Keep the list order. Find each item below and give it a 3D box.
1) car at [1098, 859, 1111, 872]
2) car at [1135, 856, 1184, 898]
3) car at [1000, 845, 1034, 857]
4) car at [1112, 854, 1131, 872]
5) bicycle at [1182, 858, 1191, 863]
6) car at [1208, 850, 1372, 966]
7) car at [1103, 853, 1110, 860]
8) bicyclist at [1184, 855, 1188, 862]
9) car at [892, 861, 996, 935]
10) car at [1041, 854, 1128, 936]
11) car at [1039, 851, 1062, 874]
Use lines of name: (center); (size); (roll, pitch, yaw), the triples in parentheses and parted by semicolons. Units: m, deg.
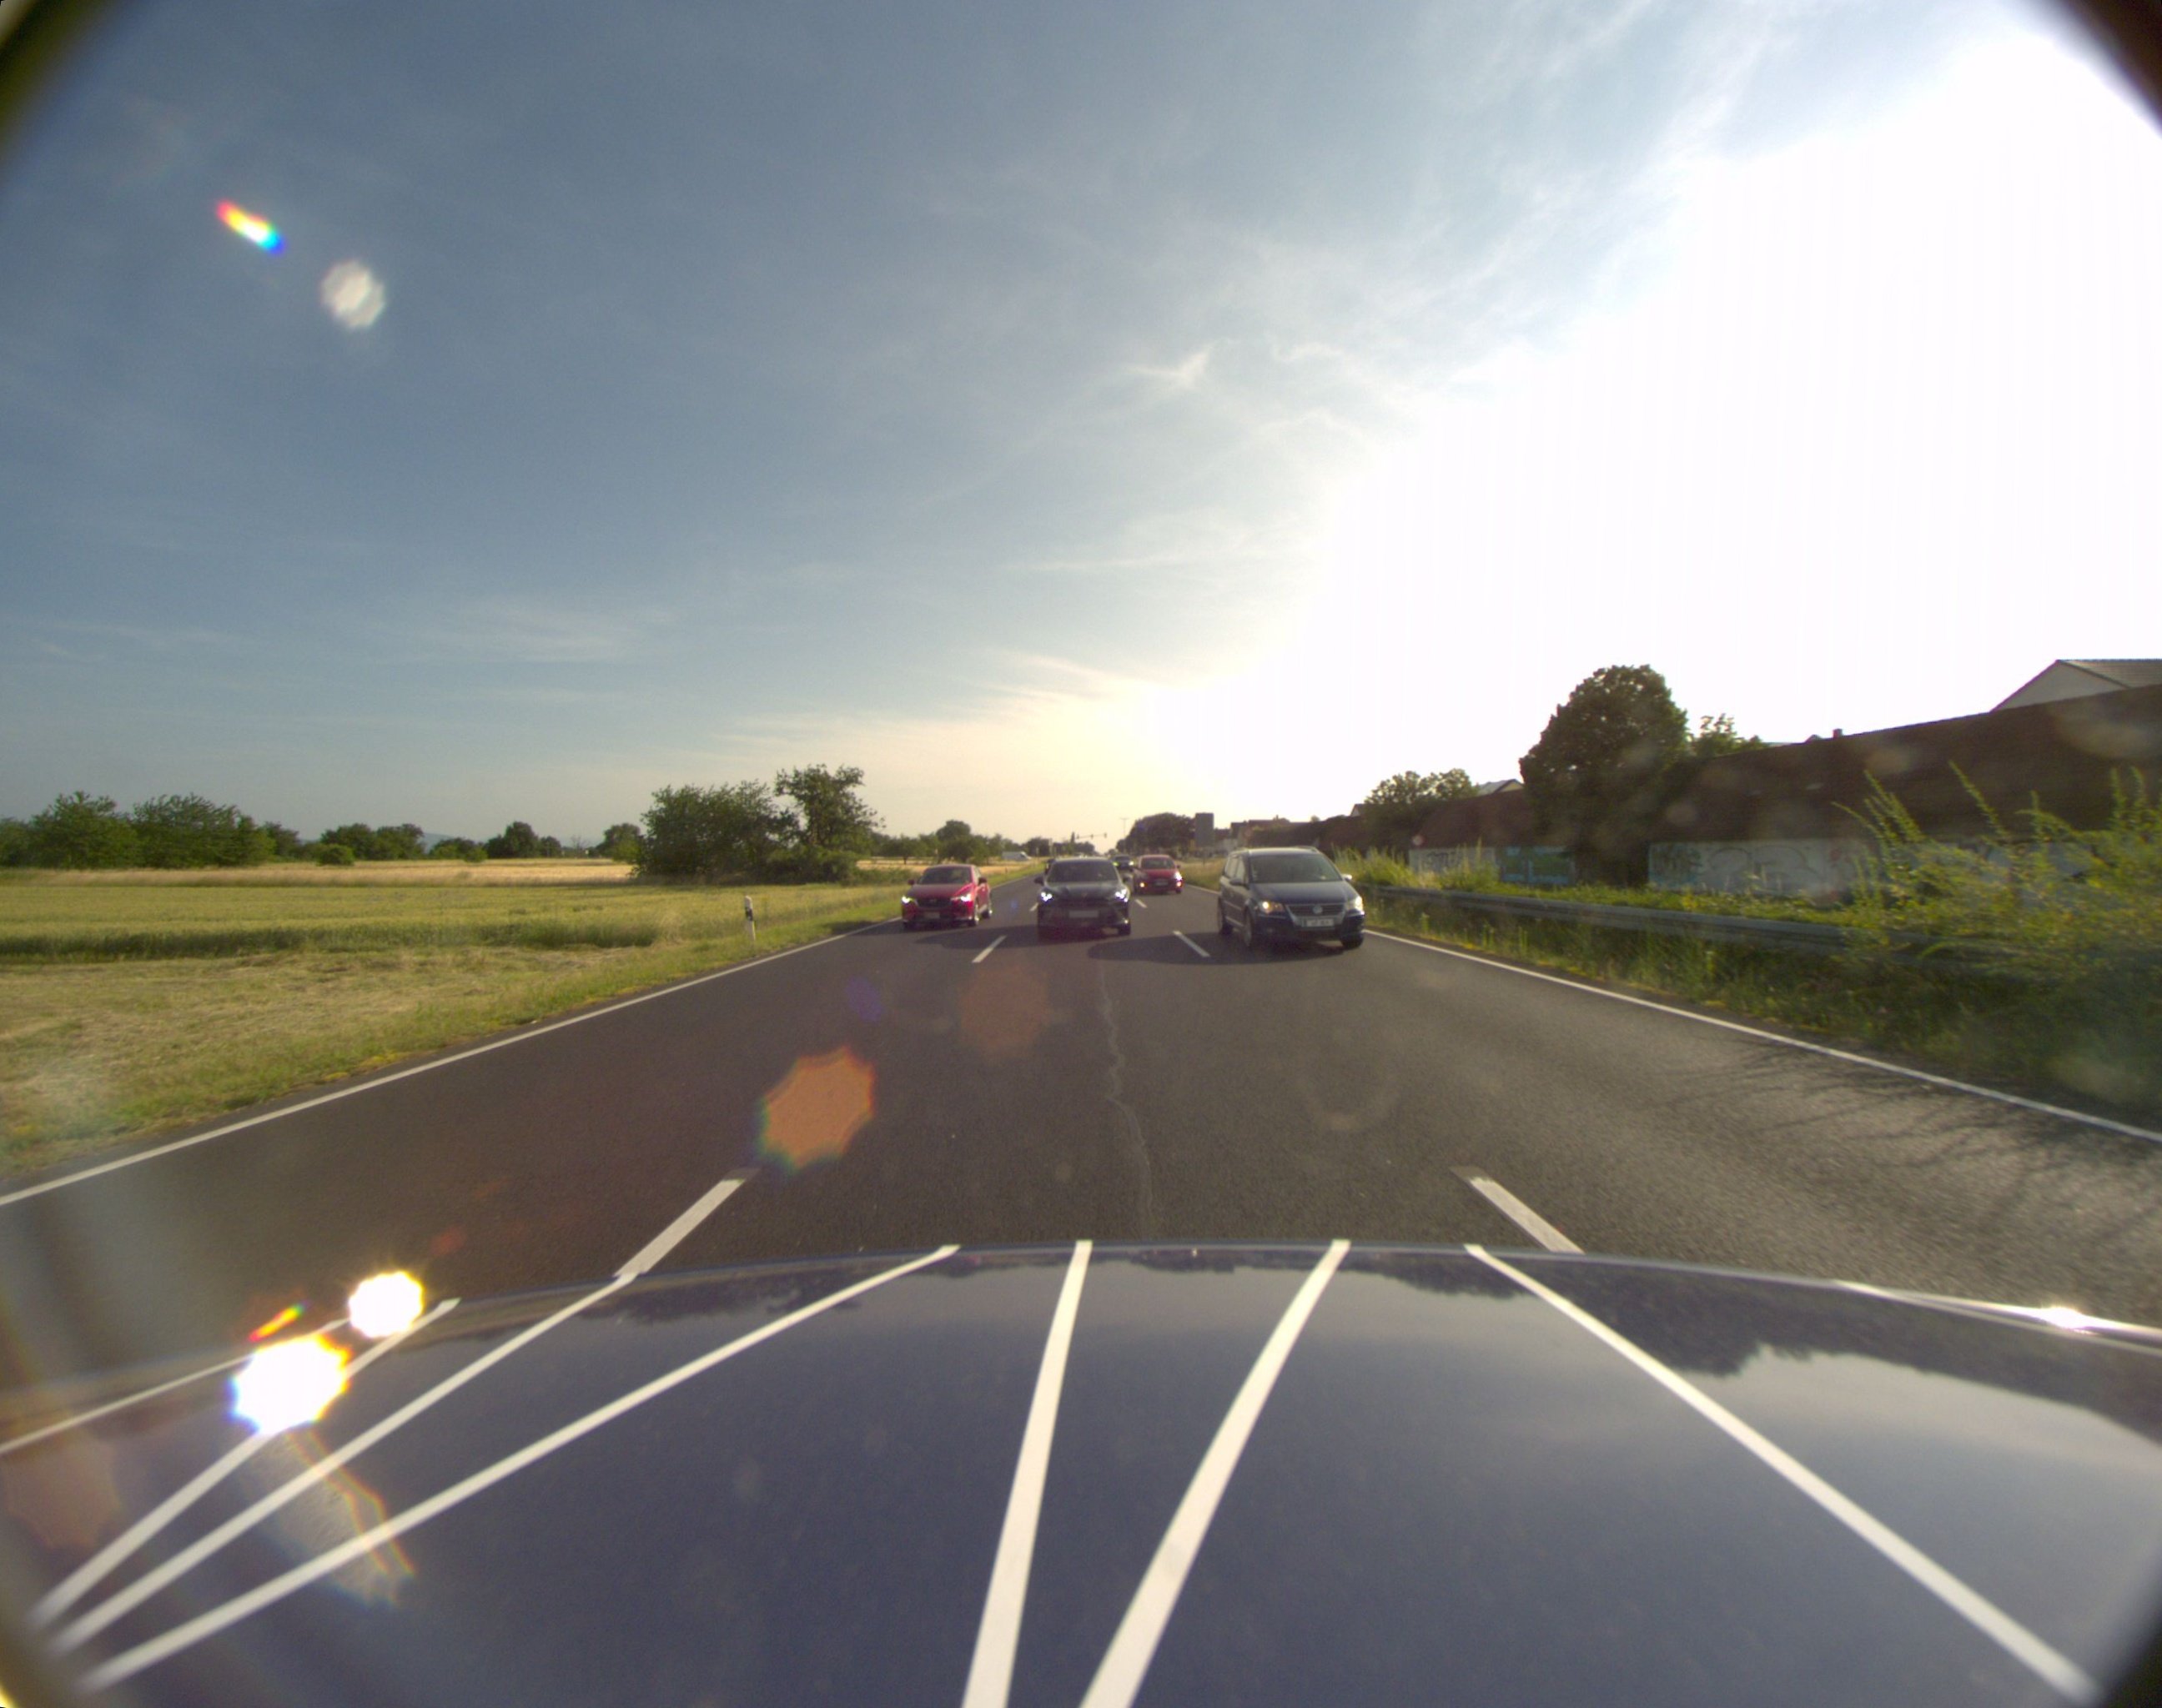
car: (4.079, 2.034, 132.367); (1.999, 2.002, 3.999); (-2, 1, -2)
car: (3.268, 0.924, 32.235); (1.748, 1.537, 4.000); (-2, 1, 2)
car: (-14.556, -0.625, 173.044); (7.201, 2.654, 2.094); (0, 2, 15)
car: (3.957, 0.871, 74.598); (1.718, 1.521, 4.000); (-2, 1, 2)
bicycle: (25.906, 1.581, 186.024); (2.159, 1.185, 0.904); (0, 2, 10)
car: (3.469, 0.792, 13.544); (1.777, 1.612, 4.681); (-1, 1, 2)
car: (8.273, 0.821, 247.007); (1.998, 2.002, 4.000); (-2, 1, 2)
bicyclist: (25.729, 1.081, 186.033); (0.856, 1.777, 0.847); (2, 2, 10)
car: (-3.352, 1.016, 19.392); (1.708, 1.497, 4.500); (-2, 1, 1)
car: (0.154, 0.874, 18.253); (1.791, 1.594, 4.339); (-2, 1, 2)
car: (-2.904, 0.811, 73.203); (1.999, 2.002, 3.999); (-2, 1, -1)
